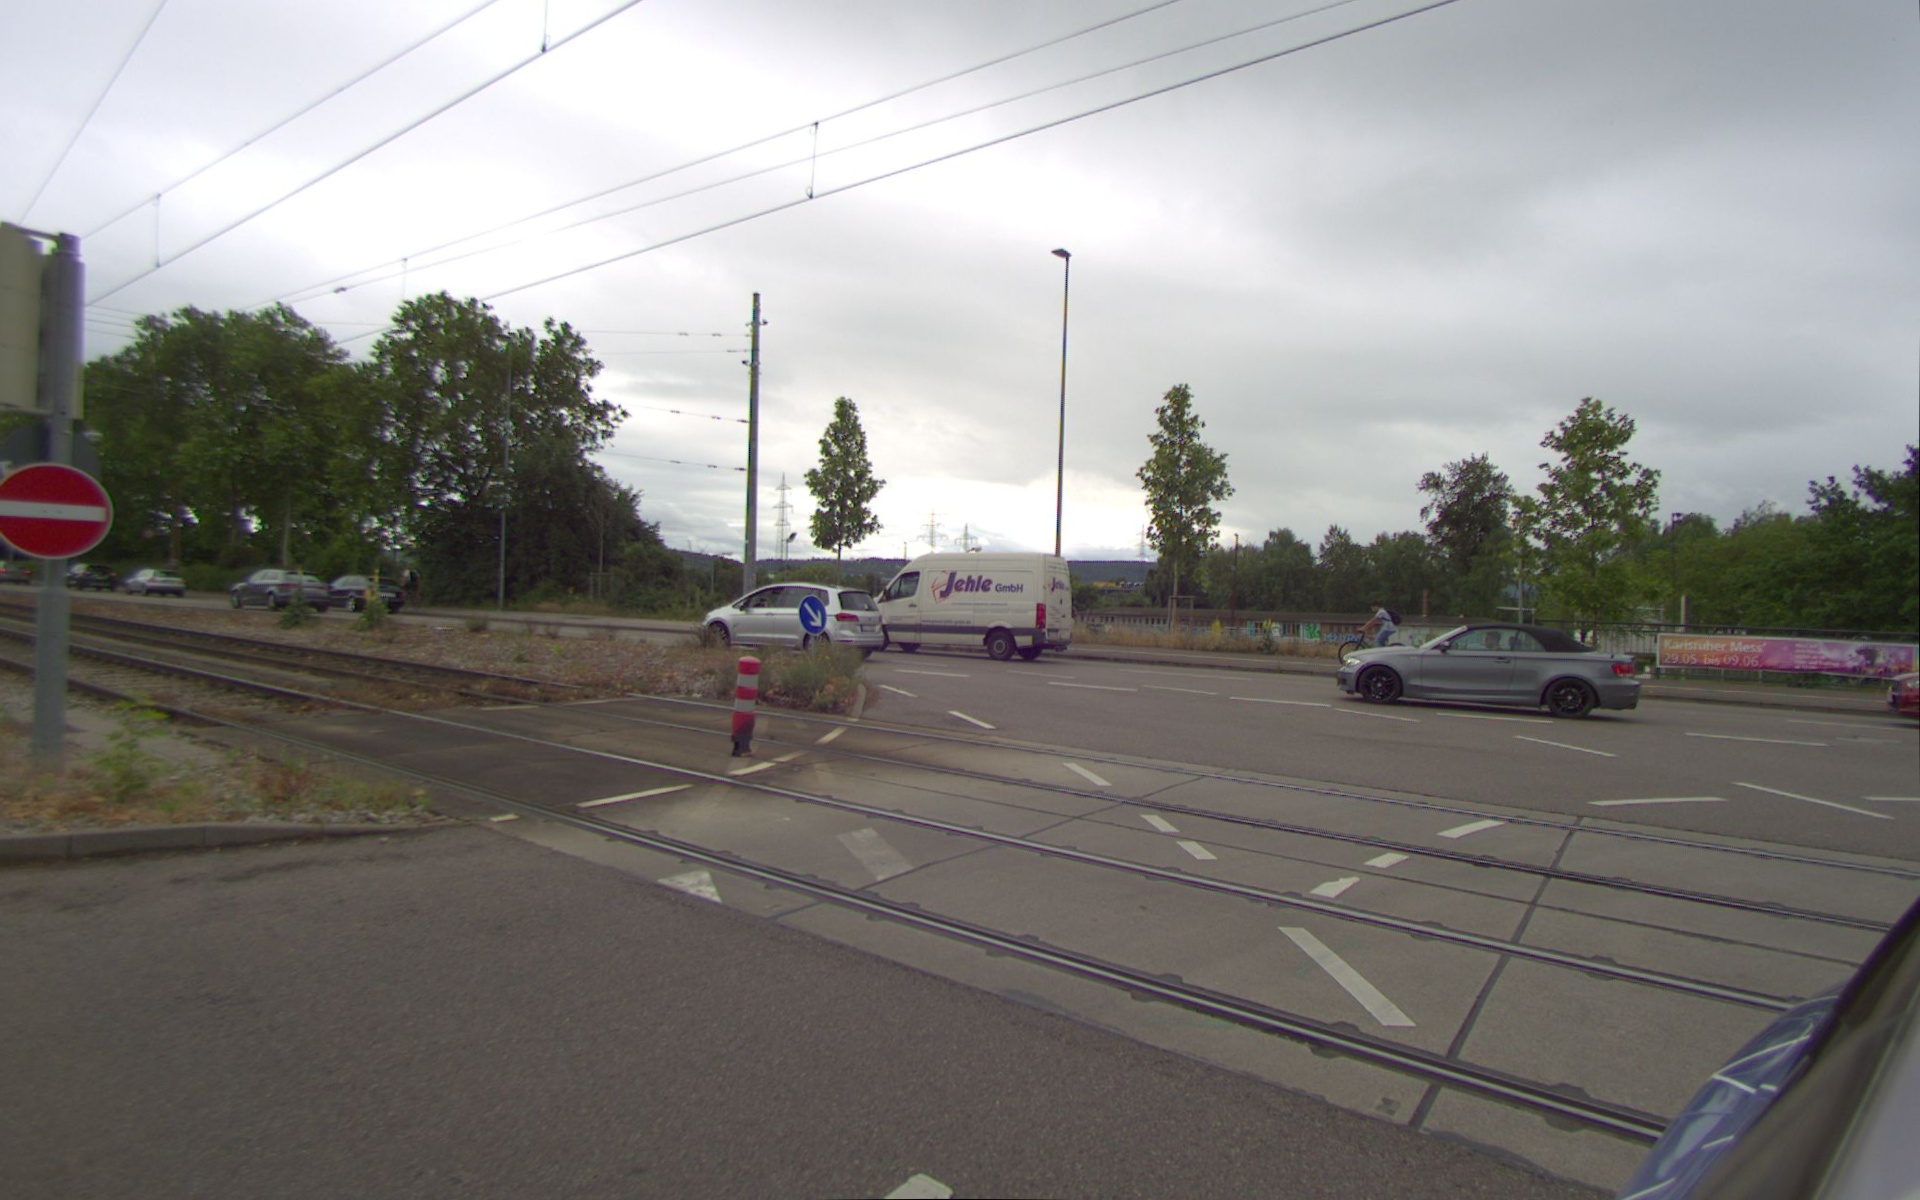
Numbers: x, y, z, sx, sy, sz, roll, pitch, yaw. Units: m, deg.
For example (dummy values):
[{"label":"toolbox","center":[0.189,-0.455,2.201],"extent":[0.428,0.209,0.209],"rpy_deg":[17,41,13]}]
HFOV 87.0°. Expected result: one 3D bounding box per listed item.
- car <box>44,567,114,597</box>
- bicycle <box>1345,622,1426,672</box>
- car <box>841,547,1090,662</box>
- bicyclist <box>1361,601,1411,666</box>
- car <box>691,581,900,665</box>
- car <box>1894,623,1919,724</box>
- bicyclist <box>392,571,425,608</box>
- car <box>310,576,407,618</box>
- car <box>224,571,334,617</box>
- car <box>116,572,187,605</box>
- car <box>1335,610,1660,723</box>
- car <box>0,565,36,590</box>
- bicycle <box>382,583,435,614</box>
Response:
[{"label":"car","center":[-51.250,-1.074,58.863],"extent":[4.283,1.582,1.841],"rpy_deg":[1,-3,32]},{"label":"bicycle","center":[10.150,1.108,24.188],"extent":[1.696,1.058,0.543],"rpy_deg":[3,3,32]},{"label":"car","center":[0.116,0.083,26.151],"extent":[5.845,2.659,2.638],"rpy_deg":[2,-1,28]},{"label":"bicyclist","center":[10.181,0.787,24.195],"extent":[0.961,1.471,0.684],"rpy_deg":[3,2,32]},{"label":"car","center":[-3.552,0.469,21.770],"extent":[4.161,1.572,1.843],"rpy_deg":[2,-1,28]},{"label":"car","center":[16.931,1.223,15.398],"extent":[3.746,1.581,1.635],"rpy_deg":[2,-1,35]},{"label":"bicyclist","center":[-23.484,-0.458,43.095],"extent":[0.992,1.497,0.810],"rpy_deg":[3,1,30]},{"label":"car","center":[-23.435,-0.109,39.358],"extent":[4.294,1.498,1.717],"rpy_deg":[1,-2,37]},{"label":"car","center":[-23.345,-0.216,34.661],"extent":[4.049,1.419,1.722],"rpy_deg":[2,-1,34]},{"label":"car","center":[-42.194,-0.624,52.807],"extent":[3.604,1.528,1.714],"rpy_deg":[2,-1,31]},{"label":"car","center":[8.415,0.982,16.139],"extent":[4.307,1.408,1.856],"rpy_deg":[2,-1,30]},{"label":"car","center":[-65.965,-1.546,69.916],"extent":[4.280,1.582,1.842],"rpy_deg":[1,-3,30]},{"label":"bicycle","center":[-23.517,-0.076,43.155],"extent":[2.502,1.199,0.810],"rpy_deg":[3,1,30]}]
